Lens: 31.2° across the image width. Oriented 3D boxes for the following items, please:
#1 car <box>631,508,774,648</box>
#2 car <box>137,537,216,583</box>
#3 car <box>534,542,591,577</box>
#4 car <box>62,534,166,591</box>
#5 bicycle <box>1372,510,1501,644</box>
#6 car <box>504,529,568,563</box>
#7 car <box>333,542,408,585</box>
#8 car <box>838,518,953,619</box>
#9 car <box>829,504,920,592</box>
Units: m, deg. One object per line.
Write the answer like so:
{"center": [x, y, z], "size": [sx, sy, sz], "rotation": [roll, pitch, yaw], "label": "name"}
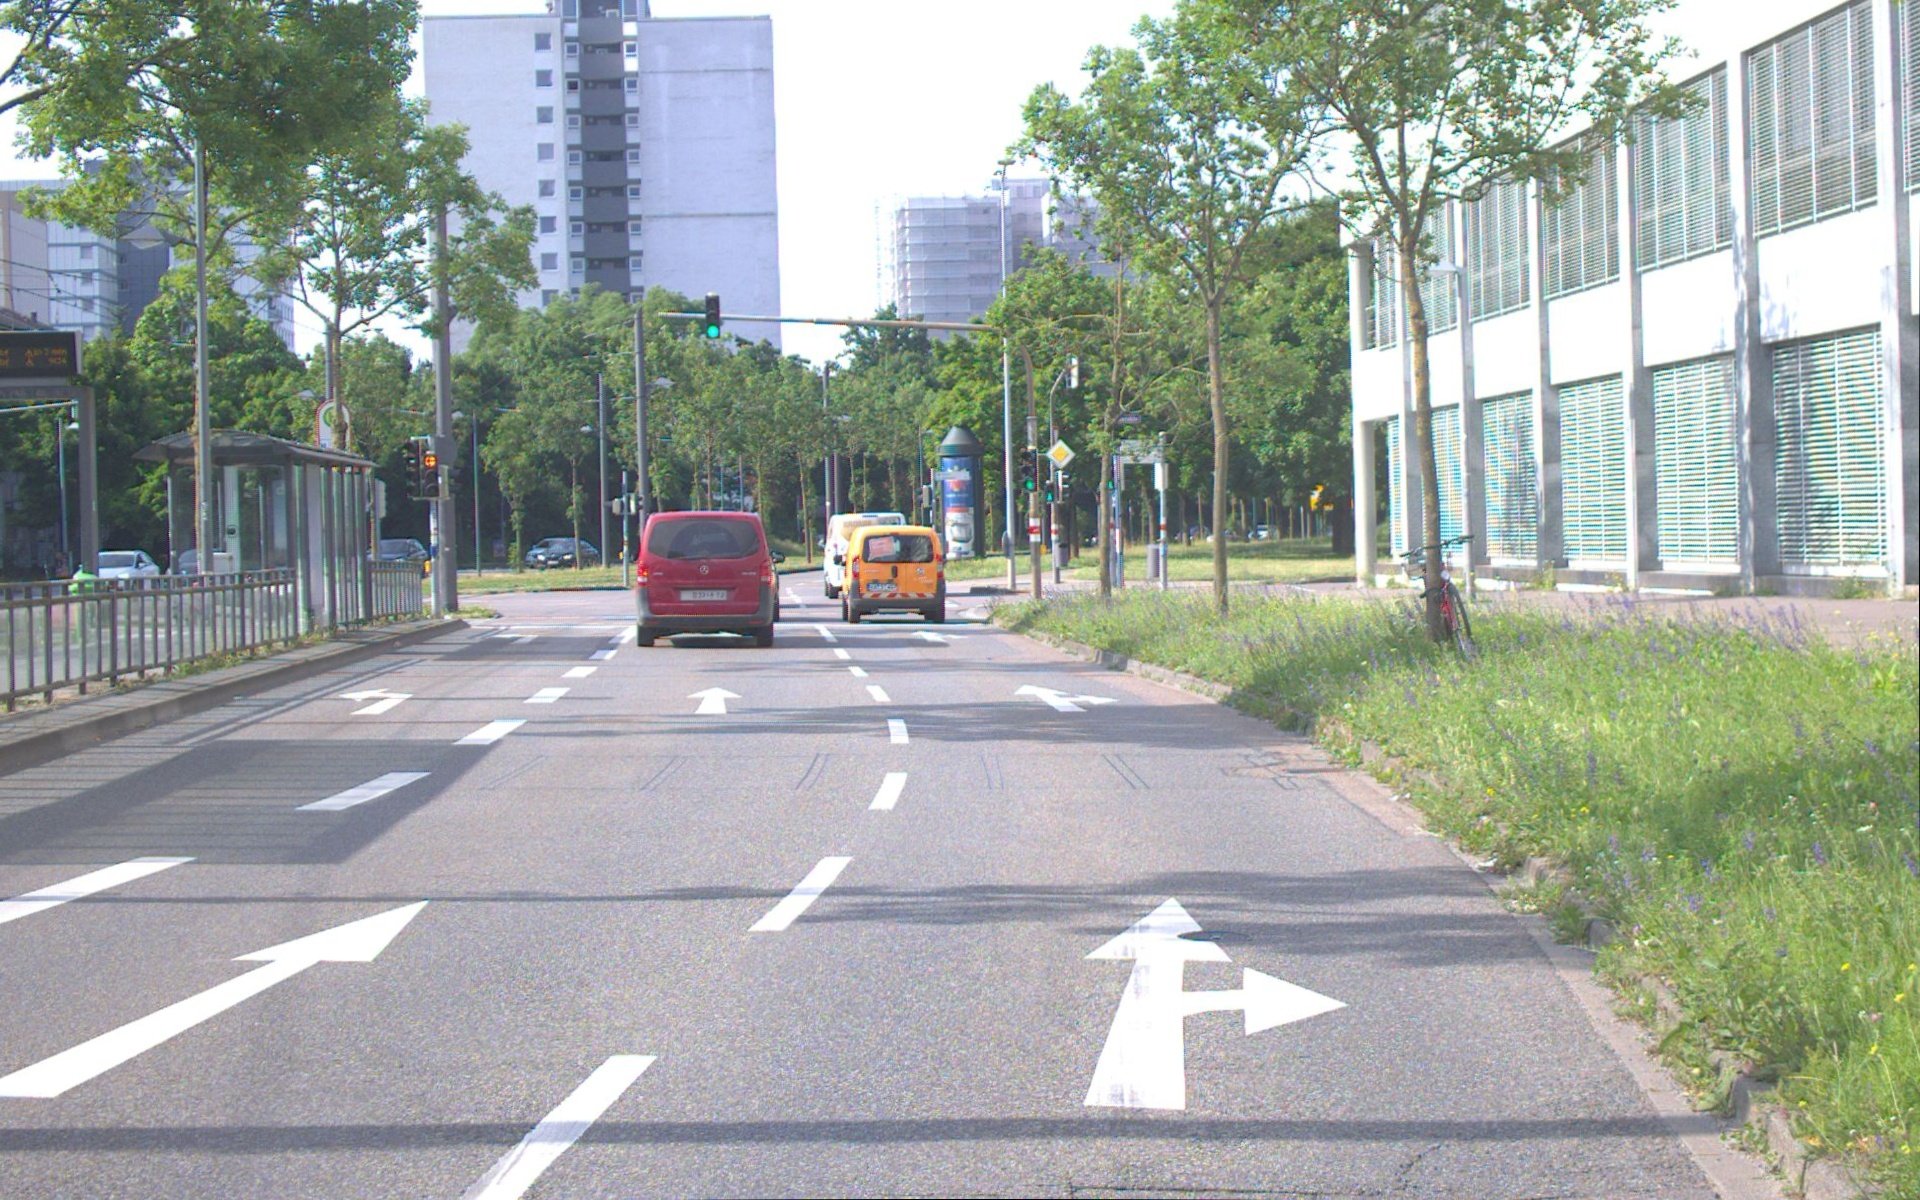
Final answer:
{"center": [-3.619, -0.336, 48.190], "size": [1.874, 1.847, 4.001], "rotation": [-1, 1, -5], "label": "car"}
{"center": [-27.677, -1.431, 121.524], "size": [1.875, 1.568, 4.000], "rotation": [-1, 1, 0], "label": "car"}
{"center": [-18.274, -1.862, 158.313], "size": [1.875, 1.568, 3.999], "rotation": [0, 1, 4], "label": "car"}
{"center": [-24.505, -1.098, 99.698], "size": [1.993, 1.590, 4.050], "rotation": [0, 1, 0], "label": "car"}
{"center": [3.781, -0.194, 27.410], "size": [0.617, 1.013, 1.880], "rotation": [-1, 1, -4], "label": "bicycle"}
{"center": [-20.406, -2.591, 165.549], "size": [1.876, 1.568, 4.220], "rotation": [-1, 1, 10], "label": "car"}
{"center": [-22.837, -1.439, 133.382], "size": [1.875, 1.568, 4.000], "rotation": [-2, 1, 5], "label": "car"}
{"center": [-1.167, -0.571, 60.639], "size": [1.875, 1.690, 3.974], "rotation": [-1, 1, -3], "label": "car"}
{"center": [-2.030, -1.213, 80.919], "size": [1.993, 2.007, 4.001], "rotation": [0, 1, -3], "label": "car"}
